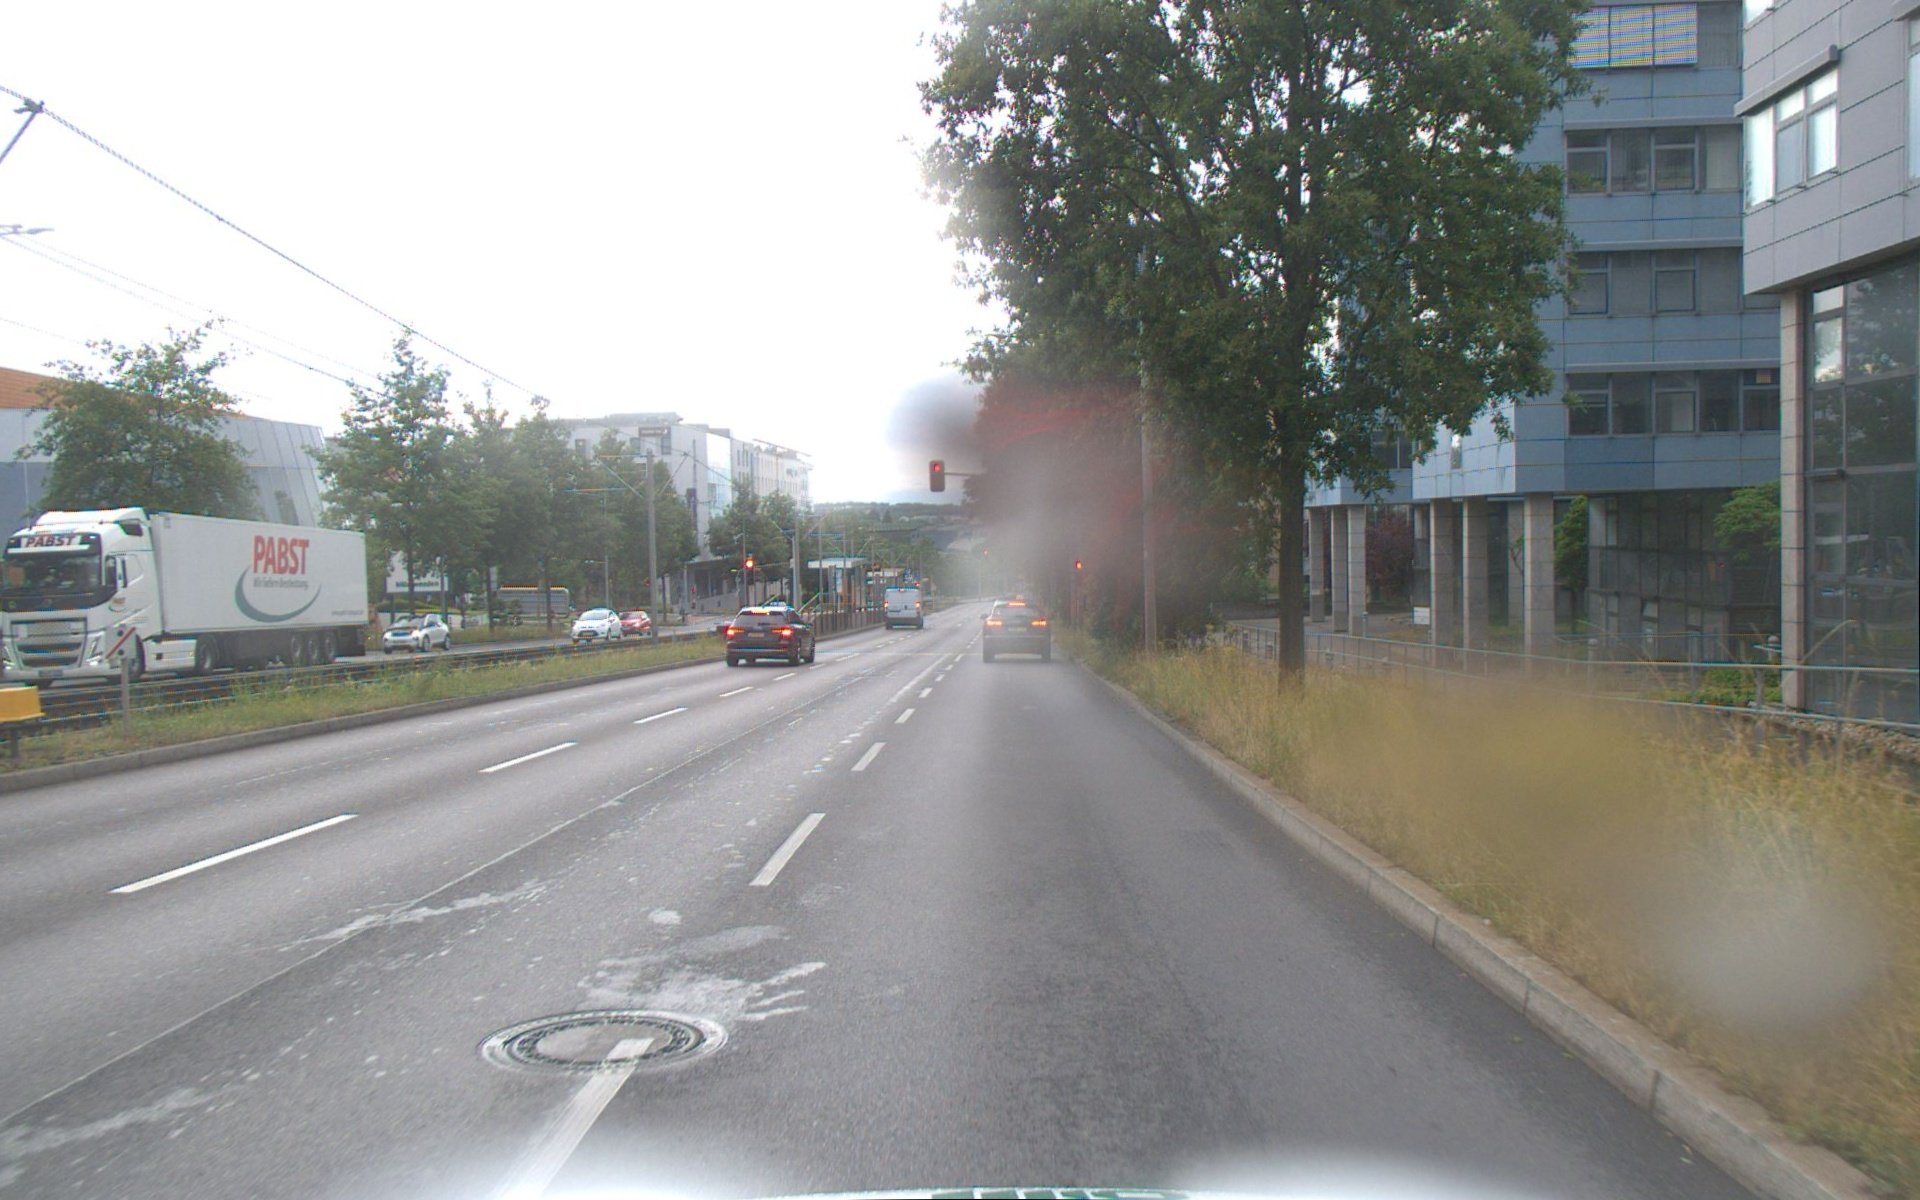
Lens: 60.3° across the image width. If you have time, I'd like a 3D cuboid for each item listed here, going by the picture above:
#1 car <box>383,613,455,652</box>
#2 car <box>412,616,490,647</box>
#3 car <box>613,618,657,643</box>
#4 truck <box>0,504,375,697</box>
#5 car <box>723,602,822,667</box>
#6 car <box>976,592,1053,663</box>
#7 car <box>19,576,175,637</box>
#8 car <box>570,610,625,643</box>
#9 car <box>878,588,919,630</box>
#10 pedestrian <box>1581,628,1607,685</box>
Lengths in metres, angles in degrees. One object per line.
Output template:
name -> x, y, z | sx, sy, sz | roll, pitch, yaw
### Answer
car -> -22.875, 1.353, 70.029 | 1.628, 1.571, 3.897 | 0, 0, 2
car -> -31.925, 1.970, 103.797 | 4.235, 1.841, 2.098 | 0, 1, -2
car -> -19.049, 1.767, 97.049 | 1.628, 1.467, 3.897 | 0, 0, 2
truck -> -20.504, -0.121, 45.054 | 2.979, 4.253, 17.203 | 0, 1, 0
car -> -4.615, 0.813, 41.388 | 1.748, 1.438, 4.808 | 0, 1, 2
car -> 1.442, 0.706, 45.089 | 1.883, 1.740, 4.098 | 0, 1, -1
car -> -34.483, 0.266, 66.246 | 5.216, 2.353, 2.011 | 0, -1, -16
car -> -16.641, 1.195, 76.159 | 1.628, 1.467, 3.897 | 0, 0, 1
car -> -3.558, 0.492, 95.242 | 2.223, 2.324, 4.756 | 0, 1, -4
pedestrian -> 16.053, 1.424, 41.880 | 0.492, 1.433, 0.457 | 0, -1, 1
